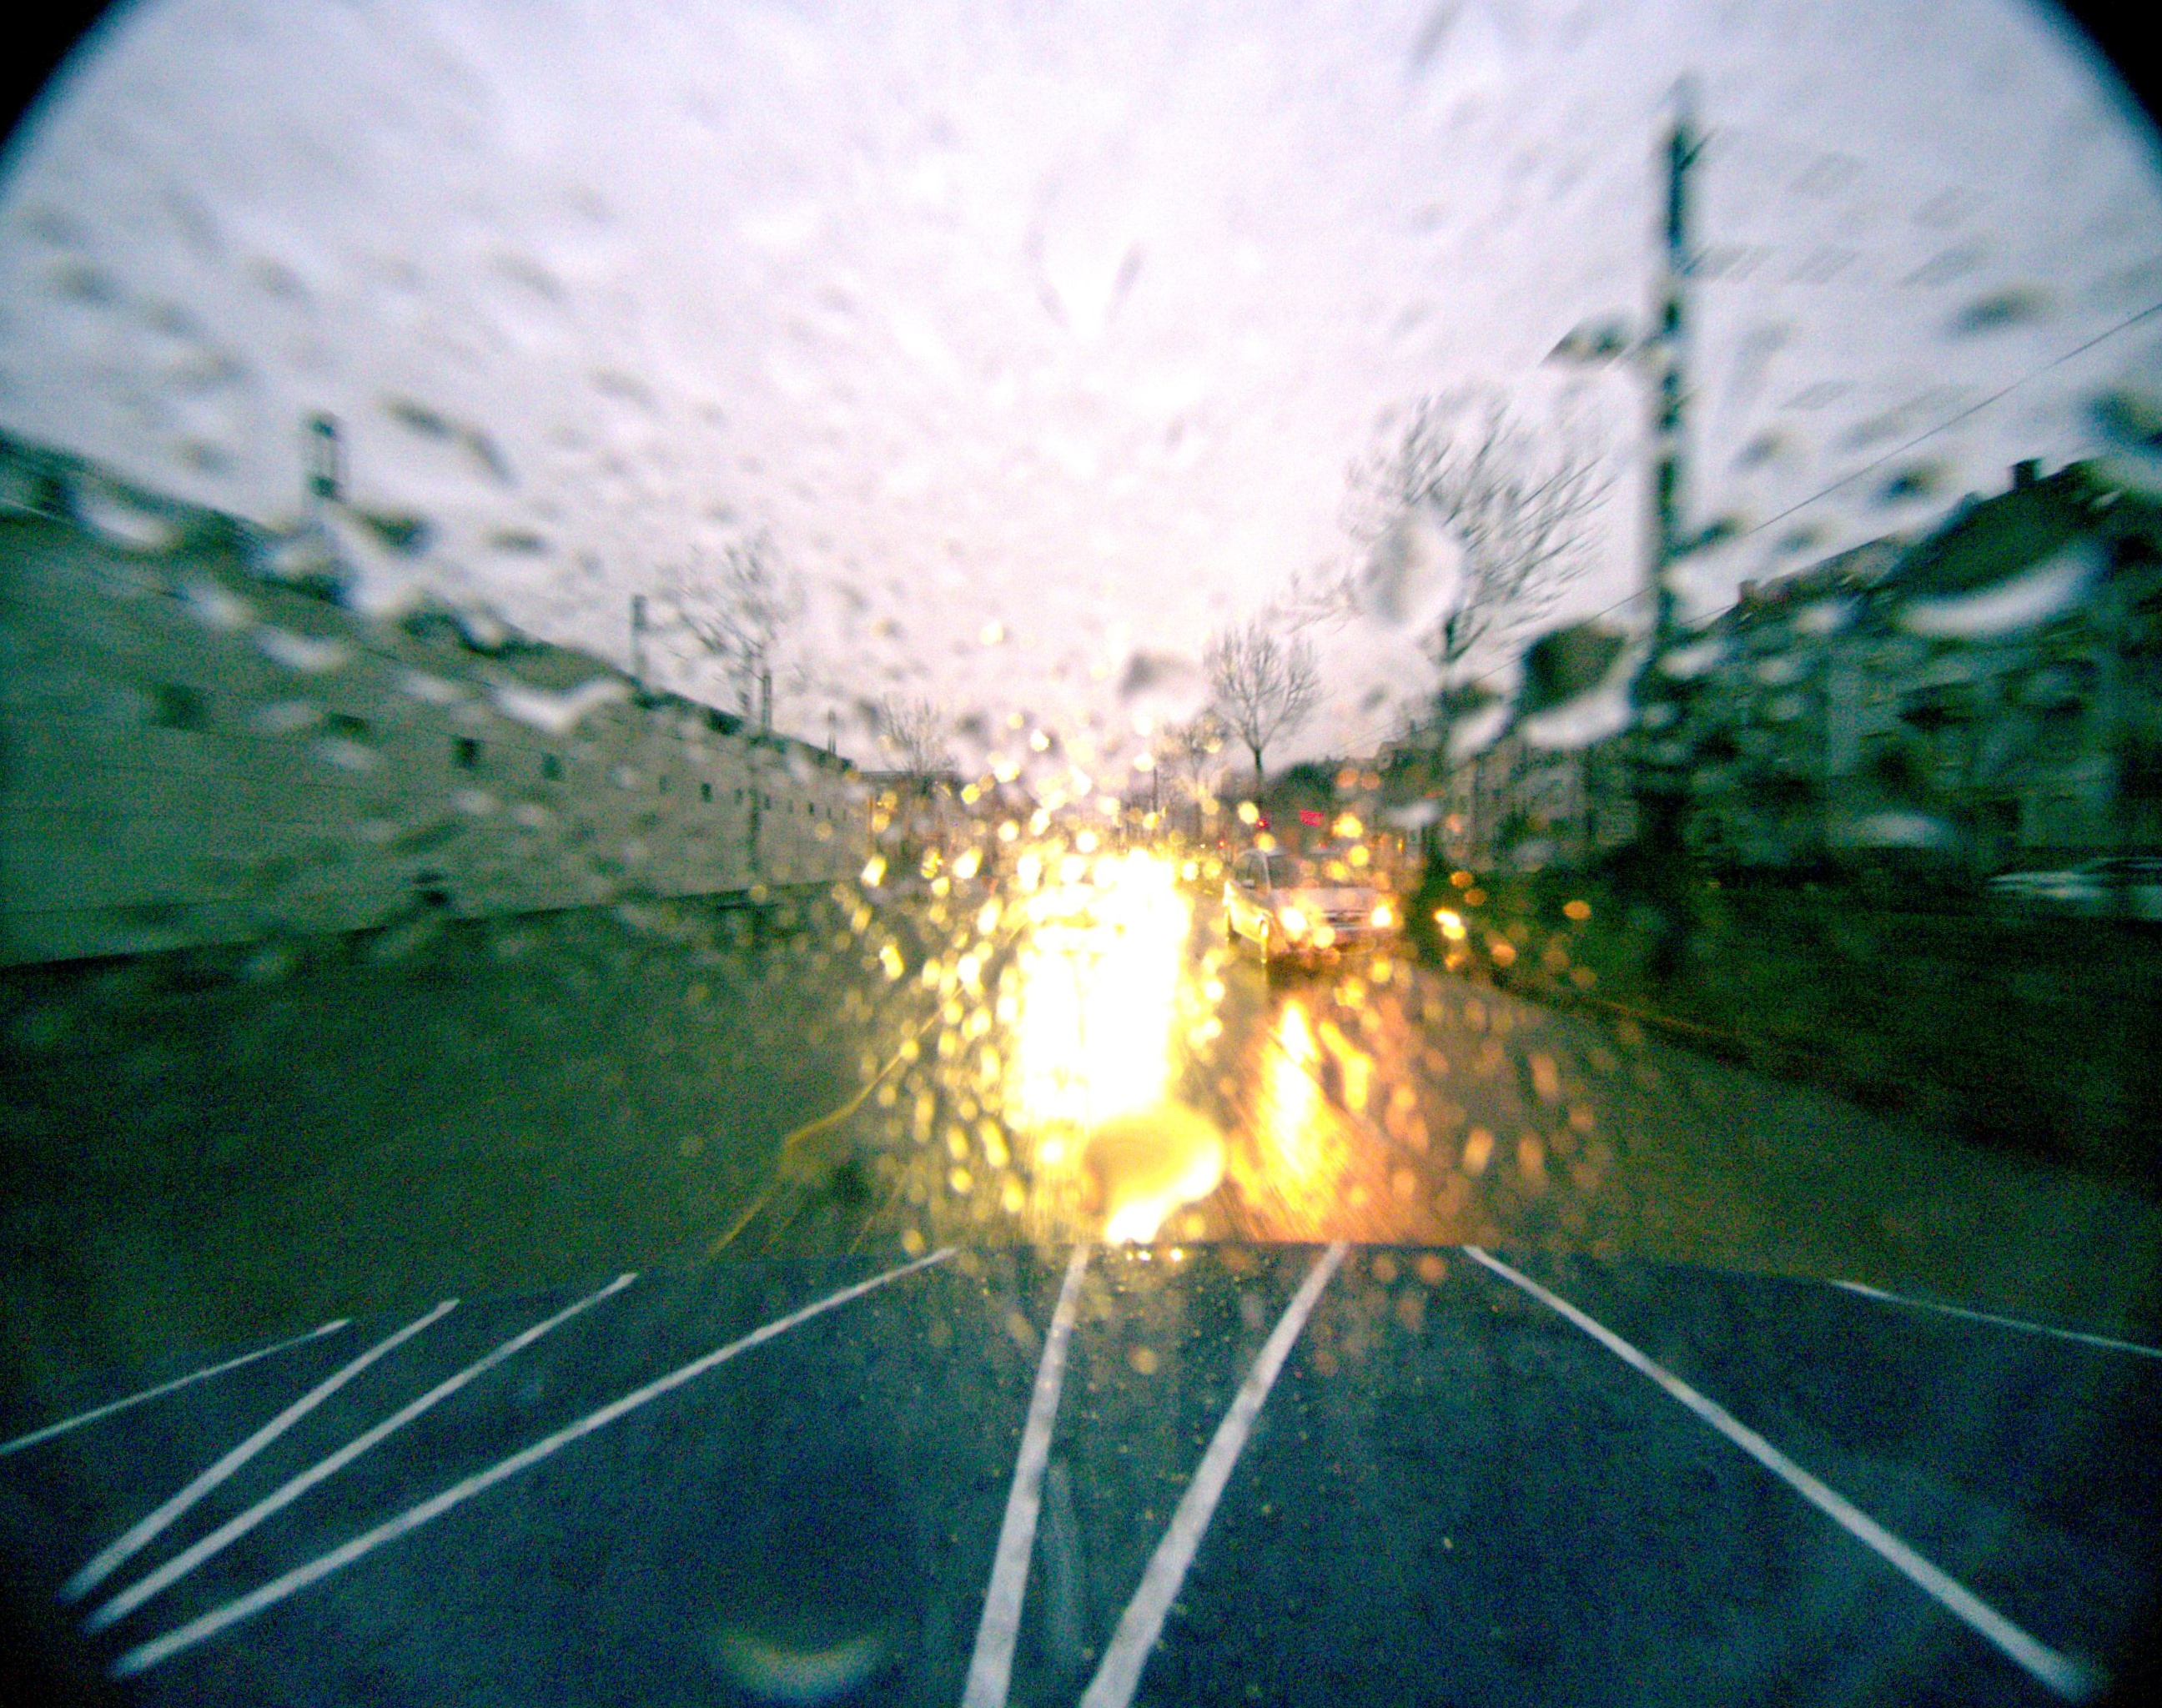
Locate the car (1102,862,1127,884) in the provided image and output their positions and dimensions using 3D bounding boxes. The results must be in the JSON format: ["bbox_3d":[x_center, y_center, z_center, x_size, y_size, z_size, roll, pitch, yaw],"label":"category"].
[{"bbox_3d":[2.283,1.312,52.929,1.538,1.347,3.546,-2,1,0],"label":"car"}]

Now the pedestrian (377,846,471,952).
[{"bbox_3d":[-10.599,0.693,12.292,0.669,1.646,0.994,0,2,-5],"label":"pedestrian"}]

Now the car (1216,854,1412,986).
[{"bbox_3d":[3.167,0.801,11.137,1.638,1.510,3.907,-2,1,0],"label":"car"}]

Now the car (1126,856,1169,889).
[{"bbox_3d":[3.284,0.869,38.127,1.905,1.475,3.655,-2,1,2],"label":"car"}]

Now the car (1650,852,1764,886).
[{"bbox_3d":[28.754,0.705,34.976,3.940,1.440,1.823,-2,0,41],"label":"car"}]

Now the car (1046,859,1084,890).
[{"bbox_3d":[-0.731,0.970,37.555,1.737,1.311,3.803,-2,1,0],"label":"car"}]

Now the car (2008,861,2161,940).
[{"bbox_3d":[22.558,0.954,15.975,1.549,1.495,3.783,-2,1,1],"label":"car"}]

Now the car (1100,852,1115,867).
[{"bbox_3d":[3.118,0.684,90.901,1.686,1.669,3.468,-2,1,1],"label":"car"}]

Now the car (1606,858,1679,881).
[{"bbox_3d":[31.141,0.826,42.289,1.233,1.162,3.900,-2,1,1],"label":"car"}]

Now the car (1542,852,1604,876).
[{"bbox_3d":[30.758,0.595,47.606,1.468,1.332,3.910,-2,1,3],"label":"car"}]

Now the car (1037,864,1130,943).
[{"bbox_3d":[0.059,0.944,15.935,1.669,1.325,3.786,-2,1,0],"label":"car"}]

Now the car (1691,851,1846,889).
[{"bbox_3d":[28.454,0.680,31.690,4.651,1.423,1.697,-2,1,37],"label":"car"}]

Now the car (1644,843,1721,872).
[{"bbox_3d":[34.696,0.199,43.940,1.684,1.542,3.538,-2,1,0],"label":"car"}]

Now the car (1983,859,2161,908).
[{"bbox_3d":[28.949,0.813,21.443,4.254,1.250,1.837,-2,1,41],"label":"car"}]

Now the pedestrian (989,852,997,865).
[{"bbox_3d":[-10.931,0.575,94.715,0.814,1.621,0.883,1,1,0],"label":"pedestrian"}]

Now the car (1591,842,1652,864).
[{"bbox_3d":[40.935,-0.093,57.583,3.362,1.534,1.611,-2,1,2],"label":"car"}]

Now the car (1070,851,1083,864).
[{"bbox_3d":[-0.668,0.503,108.696,1.787,1.690,3.639,-2,1,1],"label":"car"}]
